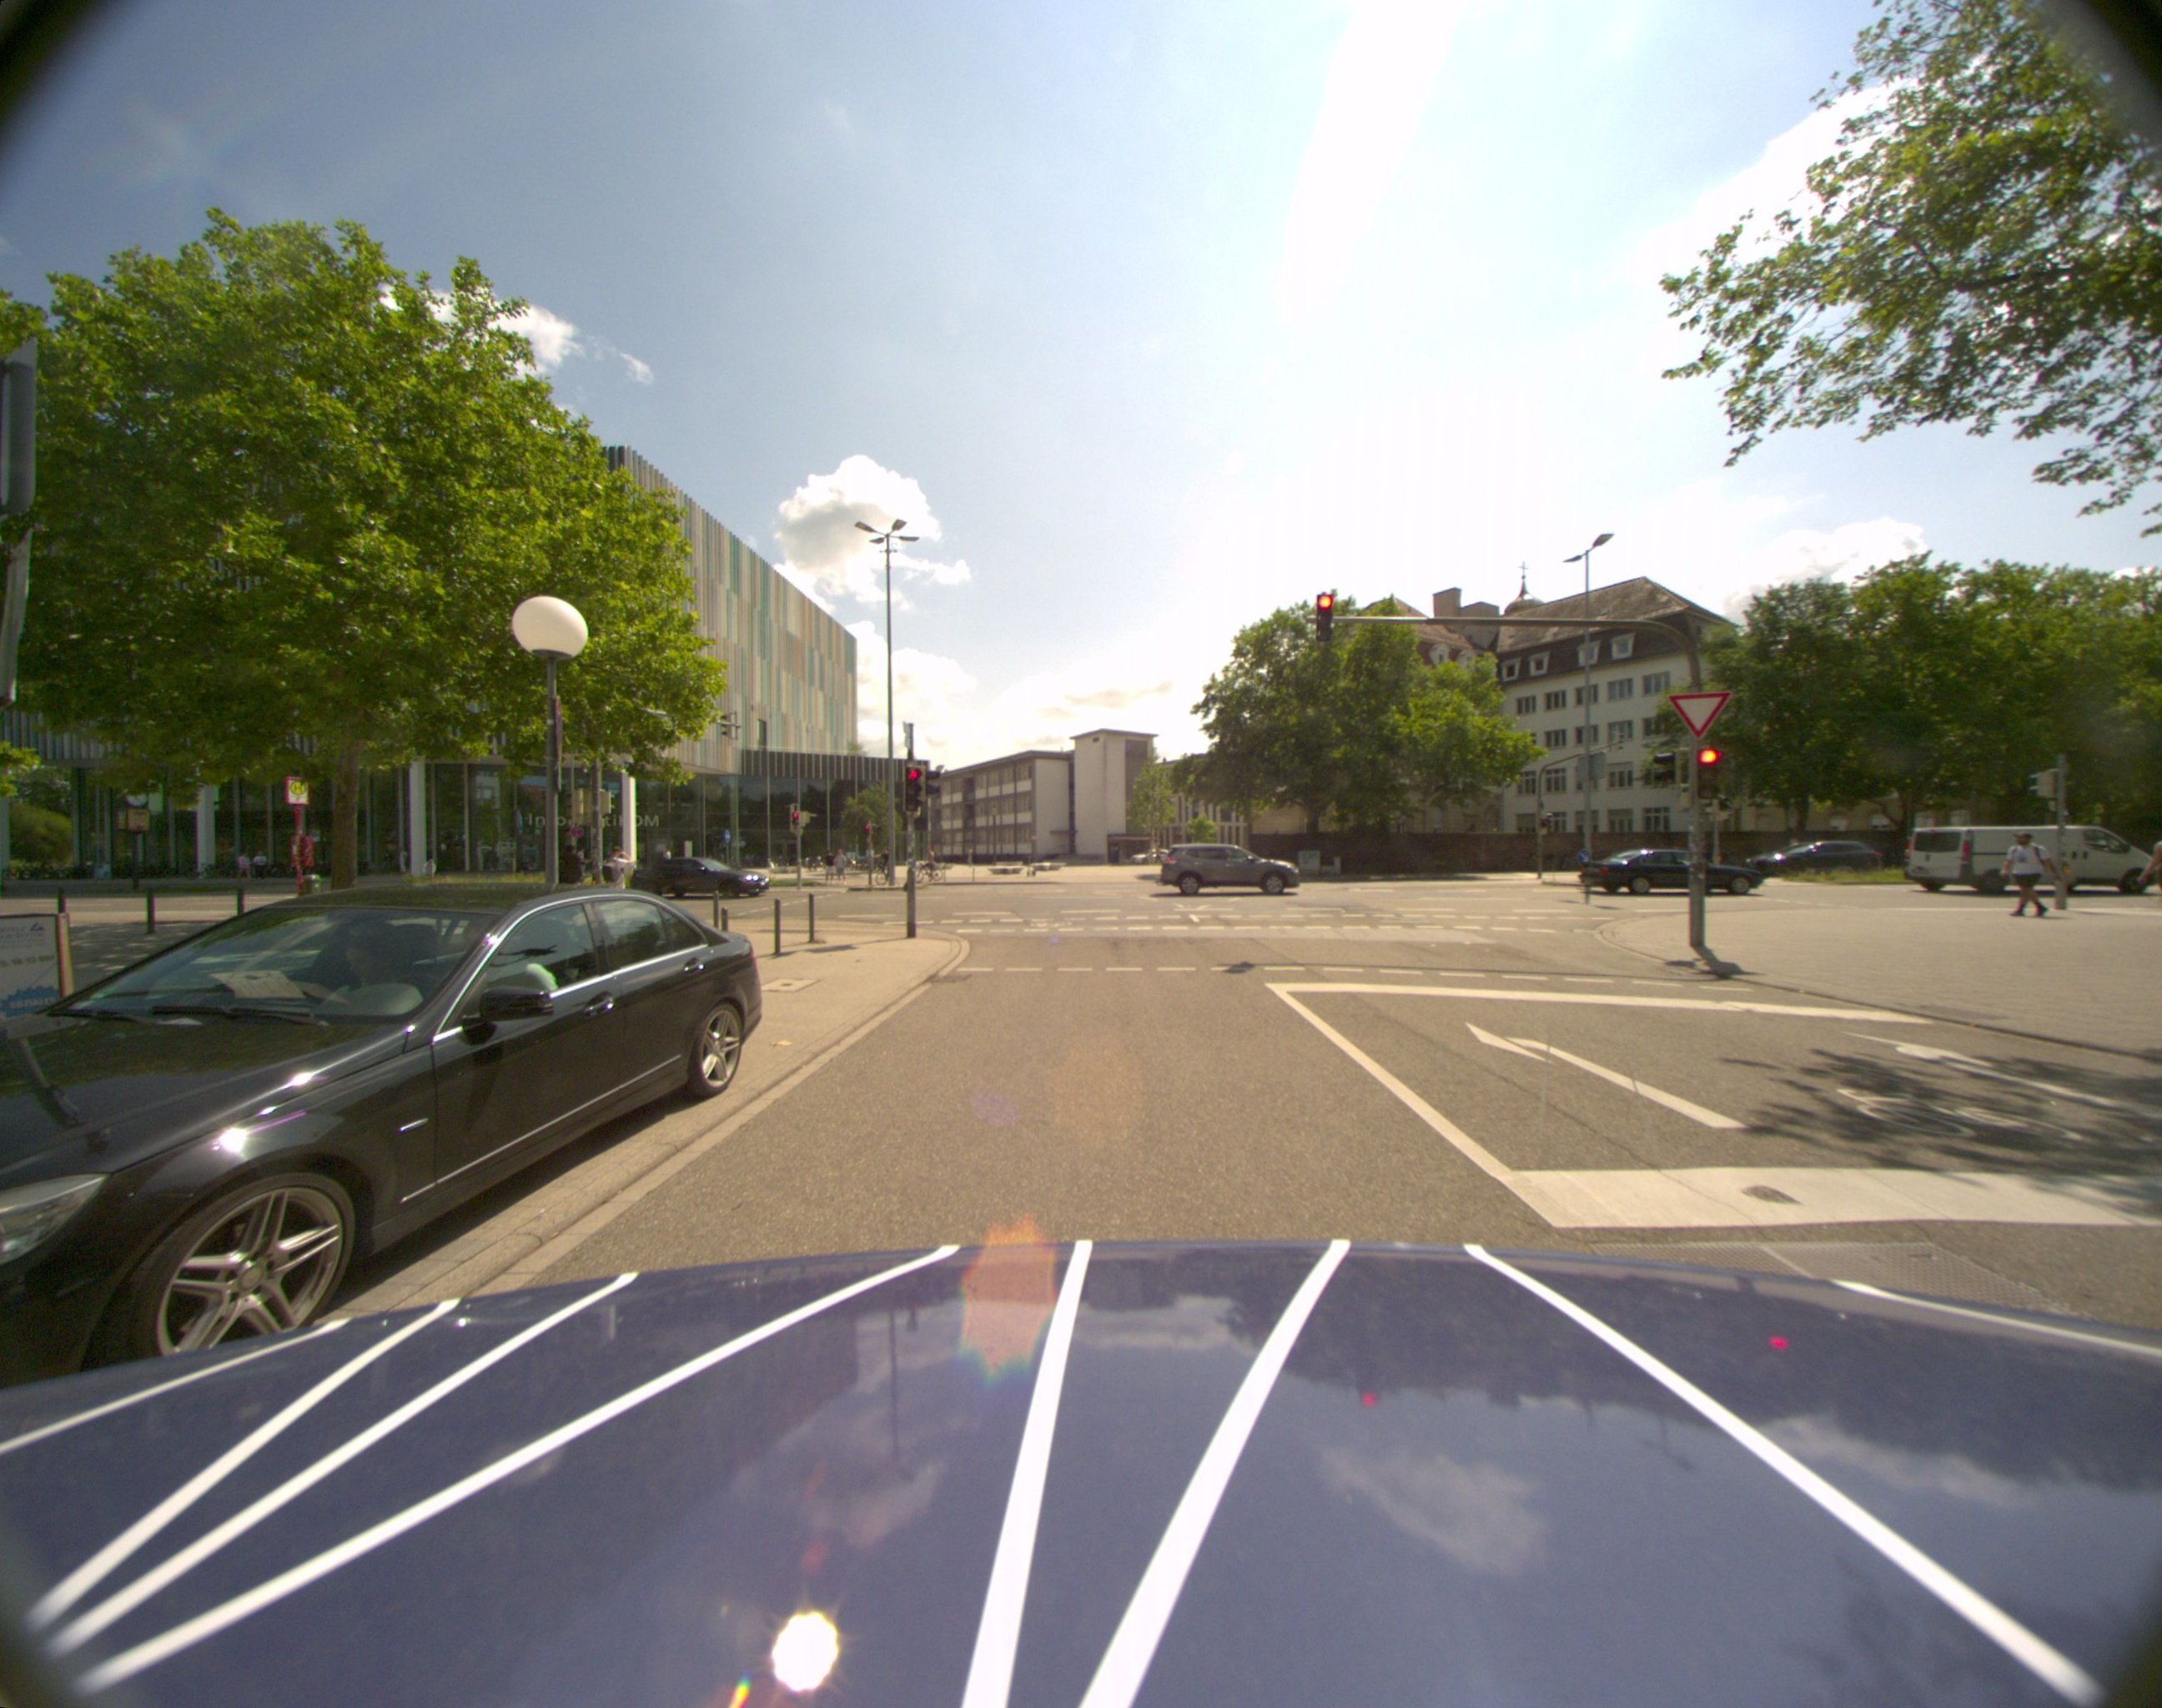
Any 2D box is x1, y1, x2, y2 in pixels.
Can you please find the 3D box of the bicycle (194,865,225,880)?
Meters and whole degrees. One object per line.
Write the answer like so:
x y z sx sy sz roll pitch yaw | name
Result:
-57.794 1.219 50.399 0.373 0.950 1.544 -1 2 -9 | bicycle

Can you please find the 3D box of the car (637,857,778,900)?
-13.279 0.869 27.154 4.185 1.408 1.831 -1 1 9 | car

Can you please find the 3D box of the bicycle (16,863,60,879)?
-71.136 1.166 51.848 0.433 0.950 1.785 -1 2 2 | bicycle

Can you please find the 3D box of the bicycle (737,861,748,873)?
-23.920 0.892 53.698 0.530 0.760 1.769 -1 2 -30 | bicycle

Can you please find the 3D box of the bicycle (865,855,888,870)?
-13.614 0.578 50.597 1.768 0.950 0.530 1 2 40 | bicycle

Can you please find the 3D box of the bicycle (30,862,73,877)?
-70.095 1.048 51.761 0.433 0.950 1.785 -1 2 2 | bicycle

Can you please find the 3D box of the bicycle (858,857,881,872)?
-13.976 0.702 50.179 1.768 0.950 0.530 1 2 40 | bicycle

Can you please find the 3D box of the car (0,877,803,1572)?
-3.256 0.923 3.828 1.722 1.392 4.949 1 1 2 | car

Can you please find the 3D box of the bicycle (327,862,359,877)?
-49.735 1.046 51.220 0.373 0.950 1.548 0 2 17 | bicycle

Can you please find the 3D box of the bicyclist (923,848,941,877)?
-8.027 0.426 40.933 0.787 1.530 0.656 -1 1 -22 | bicyclist

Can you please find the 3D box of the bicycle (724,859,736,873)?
-24.669 0.836 53.366 0.529 0.950 1.770 -1 1 -18 | bicycle

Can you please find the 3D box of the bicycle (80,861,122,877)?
-66.501 1.022 51.577 0.433 0.950 1.785 -1 2 2 | bicycle

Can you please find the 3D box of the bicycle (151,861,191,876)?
-61.731 0.960 51.570 0.433 0.950 1.785 -1 2 2 | bicycle

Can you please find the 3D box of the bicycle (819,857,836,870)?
-19.116 0.707 57.253 0.530 0.950 1.768 -2 2 -44 | bicycle

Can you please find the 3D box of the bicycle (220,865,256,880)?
-56.936 1.226 51.339 0.373 0.950 1.548 0 2 17 | bicycle

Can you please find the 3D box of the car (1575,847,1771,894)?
18.434 0.493 23.861 4.607 1.378 1.698 0 1 9 | car

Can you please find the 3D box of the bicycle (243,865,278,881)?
-55.308 1.289 51.206 0.373 0.950 1.548 0 2 17 | bicycle

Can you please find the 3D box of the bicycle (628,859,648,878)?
-29.176 0.930 50.064 0.373 1.180 1.546 0 2 1 | bicycle

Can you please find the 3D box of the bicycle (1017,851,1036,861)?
-5.465 0.238 76.187 1.775 0.950 0.528 -1 3 -24 | bicycle

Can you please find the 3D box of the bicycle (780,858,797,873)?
-21.394 0.833 55.570 0.530 0.950 1.768 -6 5 -41 | bicycle

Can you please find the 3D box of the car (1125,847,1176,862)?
6.570 0.029 71.979 4.501 1.299 1.995 -2 3 -30 | car

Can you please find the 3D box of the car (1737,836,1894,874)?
31.210 0.032 32.400 4.711 1.520 2.000 -1 1 2 | car

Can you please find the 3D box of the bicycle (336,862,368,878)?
-49.048 1.067 51.148 0.373 0.950 1.548 0 2 17 | bicycle

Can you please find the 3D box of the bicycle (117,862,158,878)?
-64.223 1.096 51.748 0.433 0.950 1.785 -1 2 2 | bicycle

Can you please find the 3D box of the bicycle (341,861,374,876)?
-48.519 0.961 50.978 0.373 0.950 1.548 0 2 17 | bicycle

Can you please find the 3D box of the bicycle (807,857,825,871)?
-19.792 0.736 56.742 0.530 0.950 1.768 -2 2 -44 | bicycle

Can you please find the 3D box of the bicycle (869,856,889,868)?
-15.715 0.621 59.048 1.768 0.950 0.530 1 2 40 | bicycle

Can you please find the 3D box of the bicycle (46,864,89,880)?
-69.052 1.232 51.773 0.433 0.950 1.785 -1 2 2 | bicycle

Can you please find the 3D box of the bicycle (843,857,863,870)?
-17.475 0.738 58.185 1.768 0.950 0.530 1 2 40 | bicycle

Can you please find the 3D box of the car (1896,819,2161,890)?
28.057 0.001 22.544 5.187 1.944 2.013 -1 2 7 | car

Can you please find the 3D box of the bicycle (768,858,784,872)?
-22.061 0.772 54.972 0.530 0.950 1.768 -2 3 -41 | bicycle

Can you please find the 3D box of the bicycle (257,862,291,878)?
-54.153 1.060 50.999 0.373 0.950 1.548 0 2 17 | bicycle

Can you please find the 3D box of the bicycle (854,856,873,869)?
-16.750 0.667 58.437 1.768 0.950 0.530 1 2 40 | bicycle

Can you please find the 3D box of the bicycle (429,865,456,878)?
-43.202 1.170 51.436 0.373 0.771 1.546 -1 2 6 | bicycle

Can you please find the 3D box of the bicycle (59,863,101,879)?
-68.192 1.167 51.771 0.433 0.950 1.785 -1 2 2 | bicycle

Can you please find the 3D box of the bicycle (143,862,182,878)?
-62.800 1.075 51.958 0.433 0.950 1.785 -1 2 2 | bicycle

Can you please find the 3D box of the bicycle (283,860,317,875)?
-52.186 0.882 50.797 0.373 0.950 1.548 0 2 17 | bicycle

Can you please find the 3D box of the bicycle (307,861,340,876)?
-50.931 0.967 51.082 0.373 0.950 1.548 0 2 17 | bicycle

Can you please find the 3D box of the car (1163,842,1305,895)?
4.999 0.455 25.347 4.472 1.669 1.826 -1 1 7 | car

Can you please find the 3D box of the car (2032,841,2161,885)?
36.757 0.302 26.811 3.800 1.464 1.754 0 2 7 | car

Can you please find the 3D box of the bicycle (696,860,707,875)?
-26.270 0.935 52.530 0.374 0.950 1.768 -2 2 -36 | bicycle

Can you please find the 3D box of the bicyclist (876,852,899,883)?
-10.104 0.693 39.608 1.001 1.606 0.656 -2 1 -26 | bicyclist
